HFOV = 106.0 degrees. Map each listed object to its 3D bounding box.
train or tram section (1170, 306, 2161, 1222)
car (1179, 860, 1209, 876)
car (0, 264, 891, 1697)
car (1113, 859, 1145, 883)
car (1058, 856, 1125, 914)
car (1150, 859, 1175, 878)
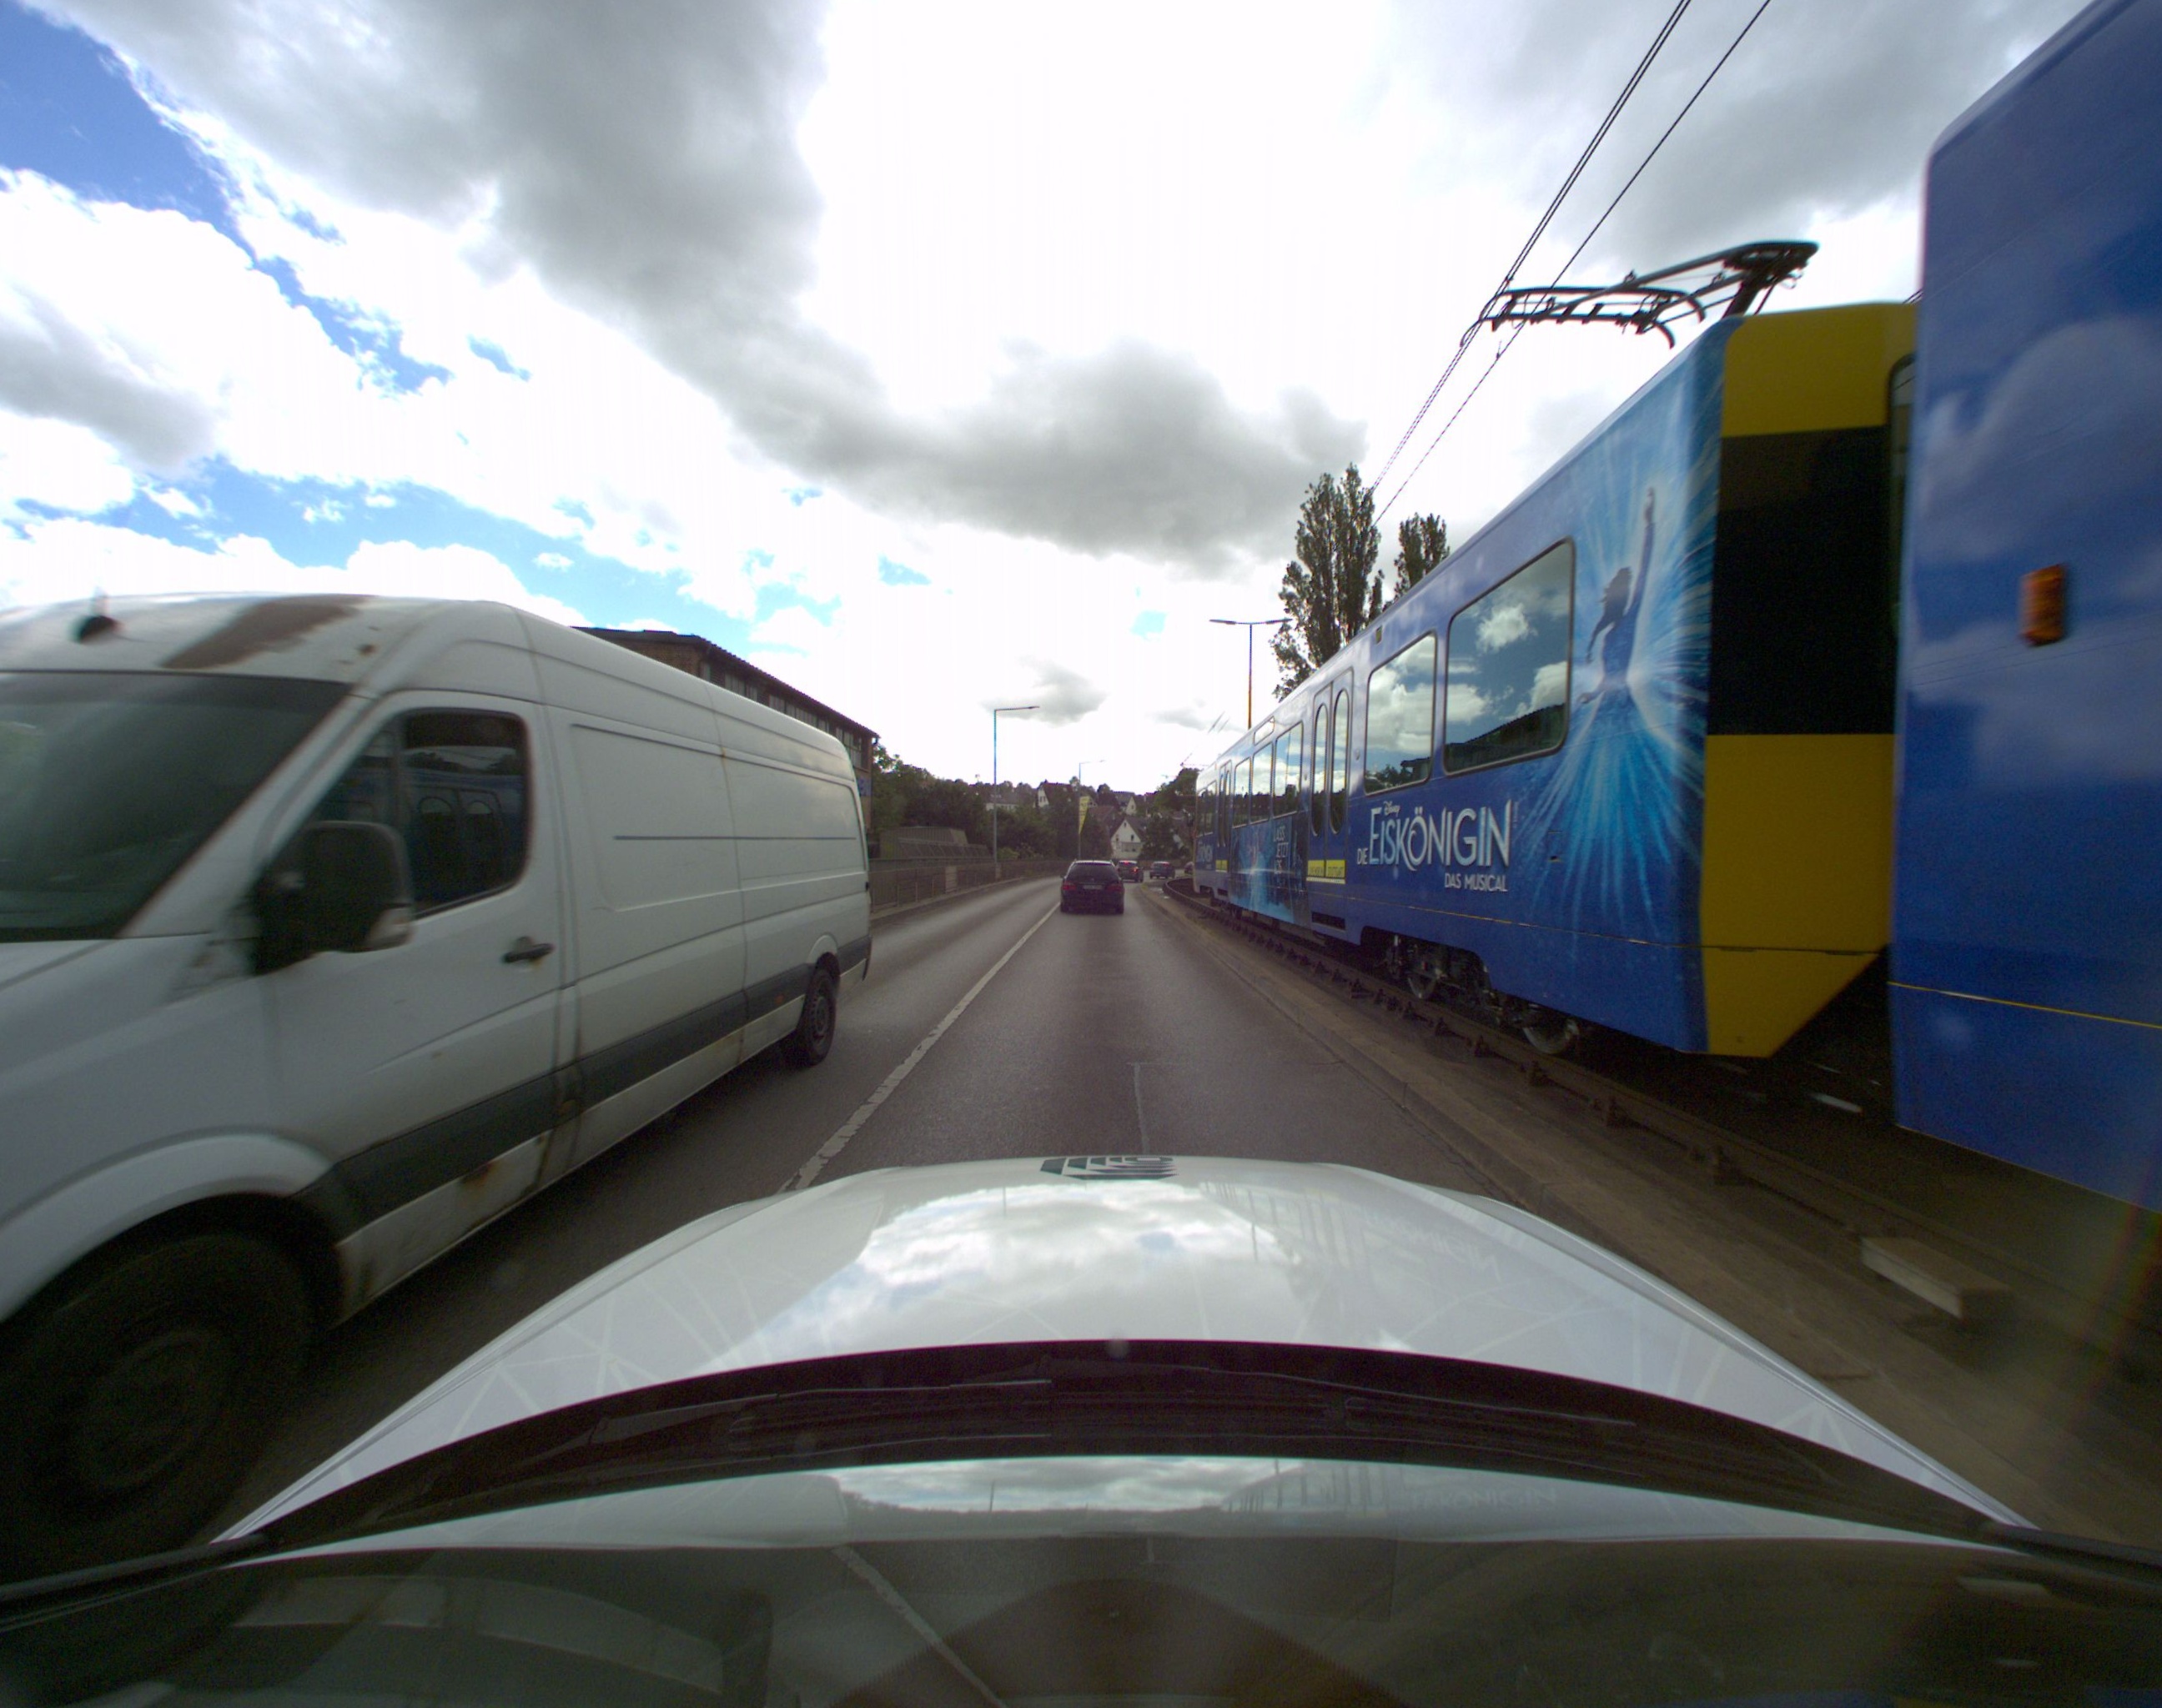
[{"bbox_3d":[3.857,-0.298,13.314,2.784,3.764,19.891,1,0,1],"label":"train or tram section"},{"bbox_3d":[11.233,1.363,80.512,1.754,1.555,4.264,1,-1,25],"label":"car"},{"bbox_3d":[-2.914,0.204,4.419,2.026,2.561,7.008,-1,0,1],"label":"car"},{"bbox_3d":[3.499,1.207,58.803,1.759,1.555,4.253,-1,0,10],"label":"car"},{"bbox_3d":[0.315,0.861,24.065,1.753,1.516,4.442,1,-1,1],"label":"car"},{"bbox_3d":[7.151,1.256,71.135,1.781,1.555,4.397,0,0,10],"label":"car"}]
